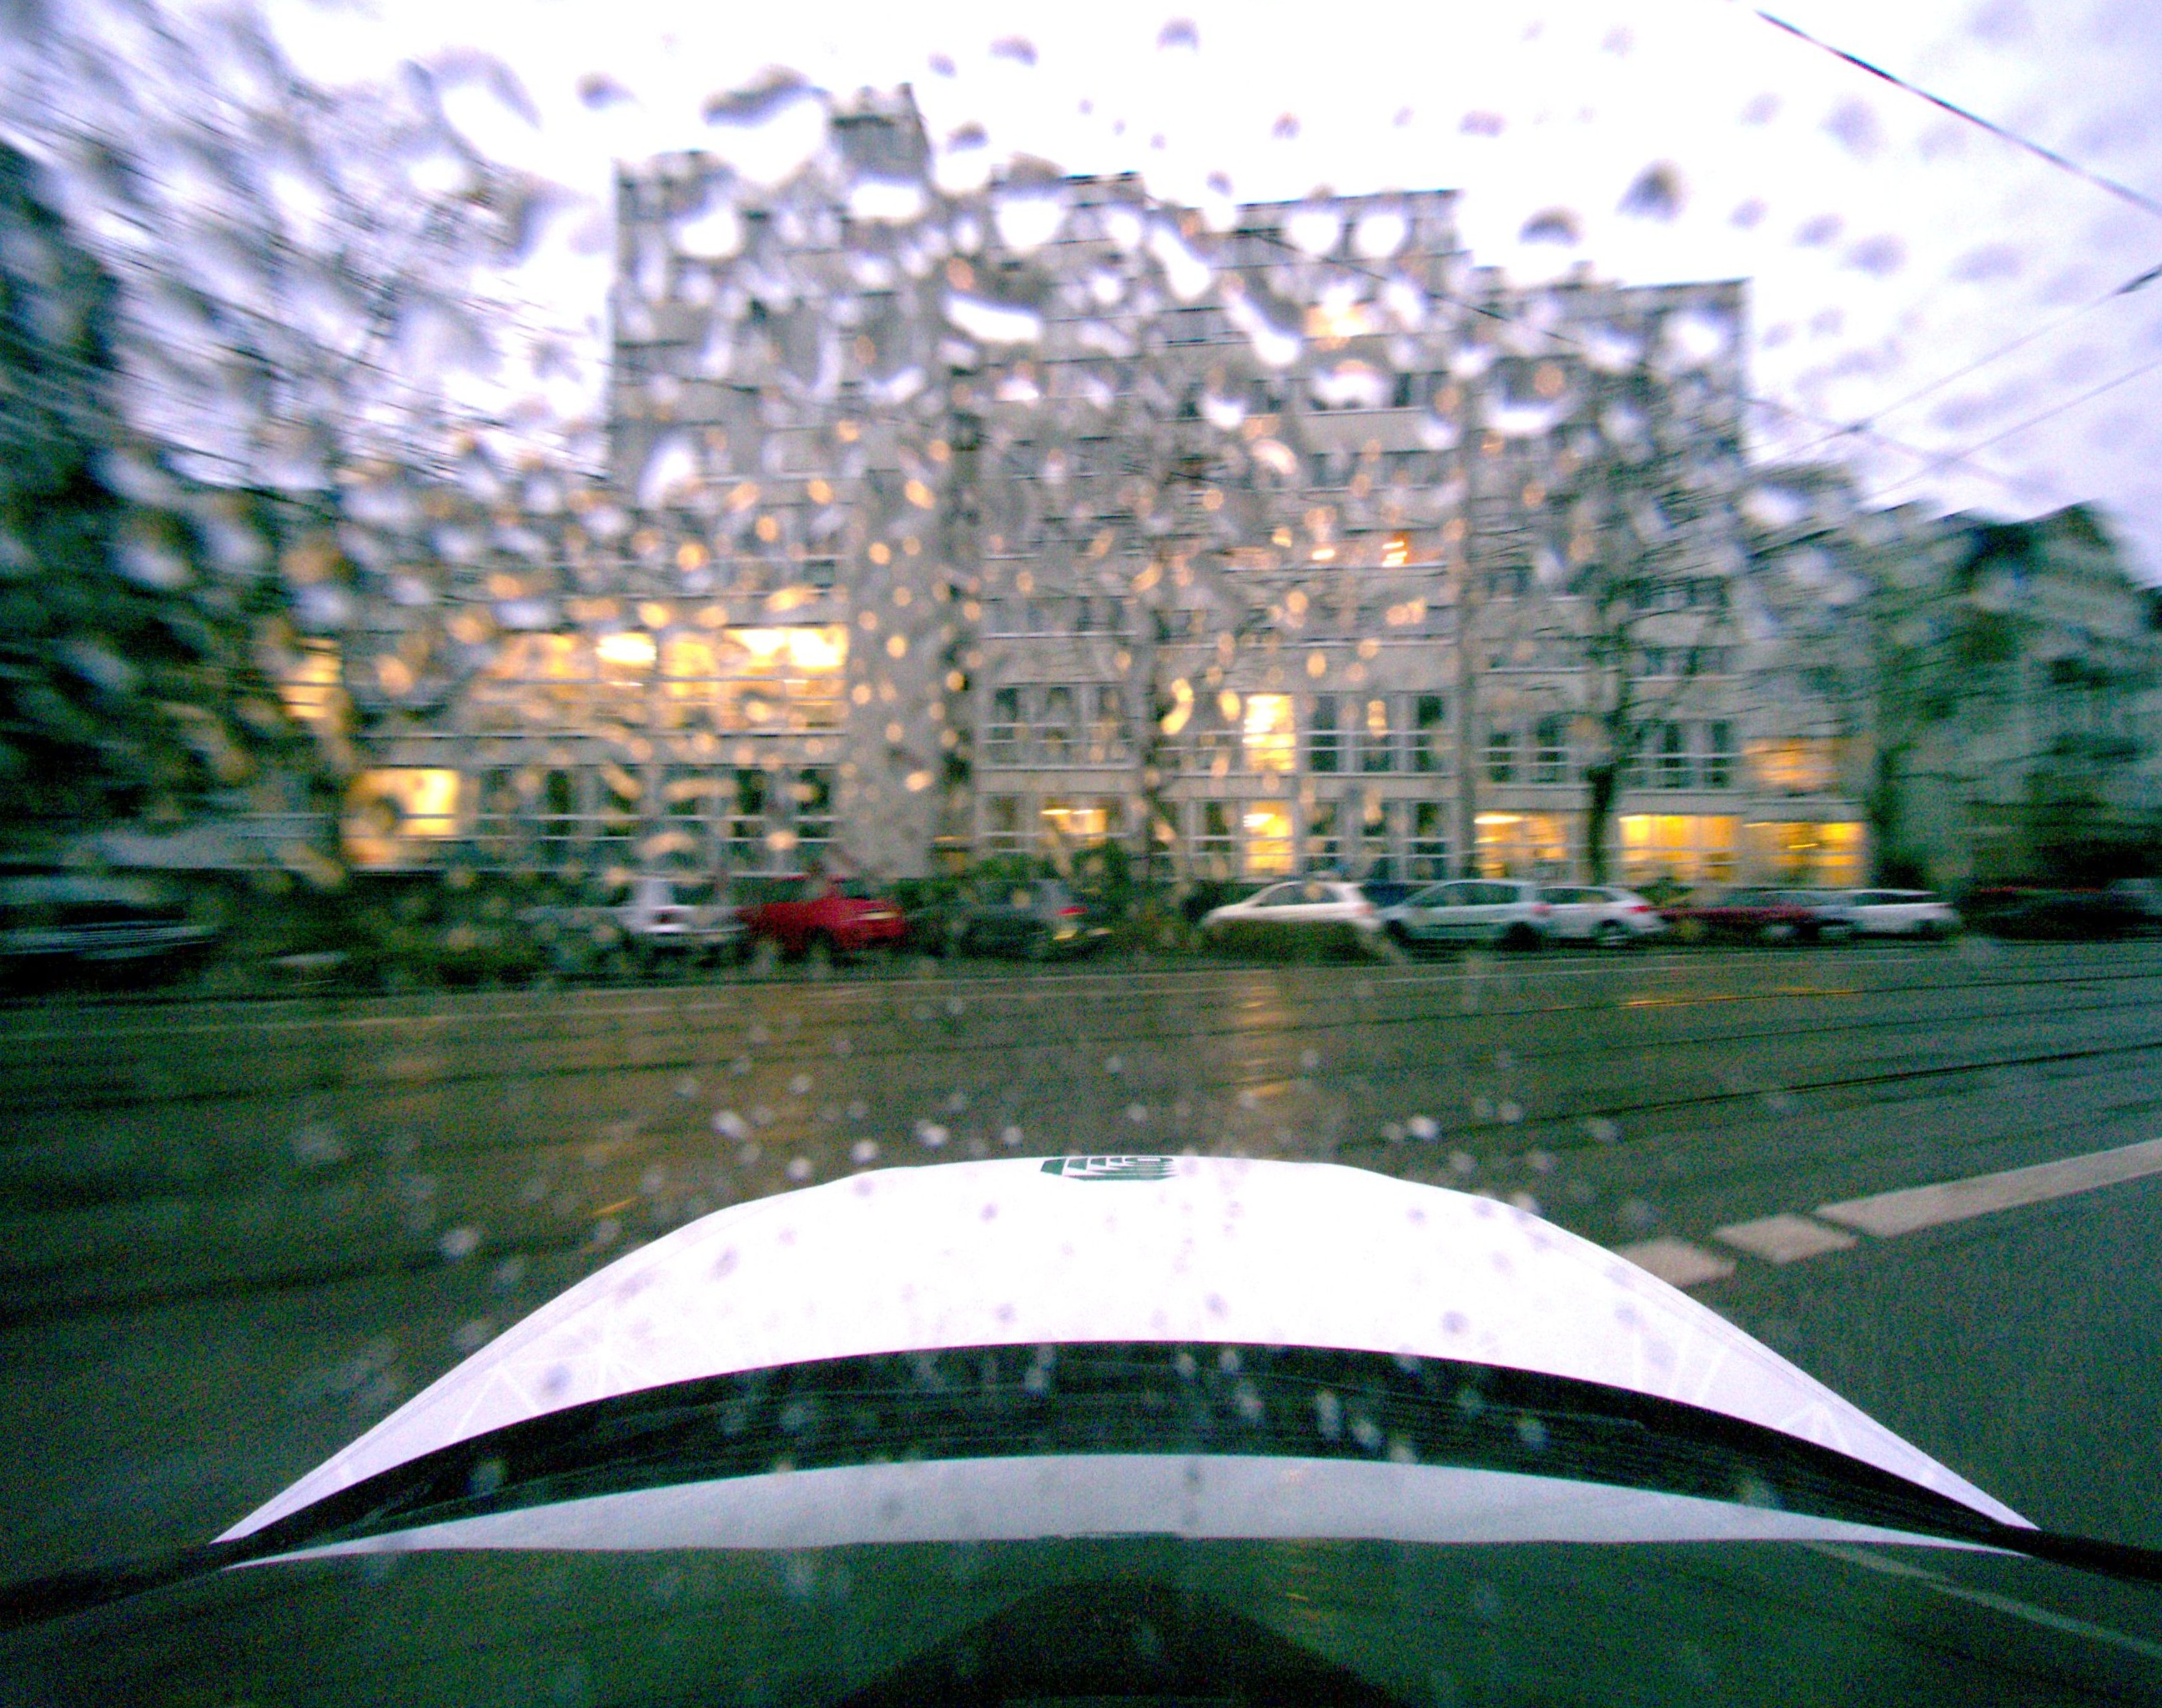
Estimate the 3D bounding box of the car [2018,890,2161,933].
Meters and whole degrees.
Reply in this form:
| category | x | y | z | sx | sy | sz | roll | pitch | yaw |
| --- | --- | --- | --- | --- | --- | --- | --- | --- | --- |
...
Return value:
| category | x | y | z | sx | sy | sz | roll | pitch | yaw |
| --- | --- | --- | --- | --- | --- | --- | --- | --- | --- |
| car | 36.456 | 1.996 | 28.783 | 3.949 | 1.428 | 1.859 | -1 | -2 | 28 |

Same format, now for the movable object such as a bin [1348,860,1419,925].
| category | x | y | z | sx | sy | sz | roll | pitch | yaw |
| --- | --- | --- | --- | --- | --- | --- | --- | --- | --- |
| movable object such as a bin | 9.111 | 1.146 | 24.606 | 1.317 | 1.860 | 1.565 | 0 | -2 | -18 |

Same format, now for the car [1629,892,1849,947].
| category | x | y | z | sx | sy | sz | roll | pitch | yaw |
| --- | --- | --- | --- | --- | --- | --- | --- | --- | --- |
| car | 17.627 | 1.724 | 22.105 | 4.295 | 1.352 | 1.759 | -1 | -3 | 22 |

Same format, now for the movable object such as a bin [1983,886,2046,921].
| category | x | y | z | sx | sy | sz | roll | pitch | yaw |
| --- | --- | --- | --- | --- | --- | --- | --- | --- | --- |
| movable object such as a bin | 39.210 | 2.056 | 34.220 | 1.322 | 1.451 | 1.261 | 1 | -2 | -13 |

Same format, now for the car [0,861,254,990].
| category | x | y | z | sx | sy | sz | roll | pitch | yaw |
| --- | --- | --- | --- | --- | --- | --- | --- | --- | --- |
| car | -12.781 | 0.822 | 10.525 | 3.949 | 1.379 | 1.867 | -1 | -2 | 28 |

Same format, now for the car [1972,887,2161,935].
| category | x | y | z | sx | sy | sz | roll | pitch | yaw |
| --- | --- | --- | --- | --- | --- | --- | --- | --- | --- |
| car | 33.651 | 1.912 | 27.793 | 3.950 | 1.471 | 1.842 | 0 | -2 | 25 |

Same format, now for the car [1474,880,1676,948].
| category | x | y | z | sx | sy | sz | roll | pitch | yaw |
| --- | --- | --- | --- | --- | --- | --- | --- | --- | --- |
| car | 11.723 | 1.373 | 19.442 | 3.948 | 1.444 | 1.747 | -1 | -4 | 37 |

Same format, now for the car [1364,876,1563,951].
| category | x | y | z | sx | sy | sz | roll | pitch | yaw |
| --- | --- | --- | --- | --- | --- | --- | --- | --- | --- |
| car | 8.697 | 1.296 | 18.641 | 3.949 | 1.564 | 1.747 | -1 | -2 | 28 |

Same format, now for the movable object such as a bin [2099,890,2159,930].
| category | x | y | z | sx | sy | sz | roll | pitch | yaw |
| --- | --- | --- | --- | --- | --- | --- | --- | --- | --- |
| movable object such as a bin | 39.278 | 2.079 | 30.545 | 1.117 | 1.451 | 1.252 | 2 | -3 | -42 |

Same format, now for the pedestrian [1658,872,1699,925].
| category | x | y | z | sx | sy | sz | roll | pitch | yaw |
| --- | --- | --- | --- | --- | --- | --- | --- | --- | --- |
| pedestrian | 19.311 | 1.419 | 26.315 | 0.973 | 1.677 | 0.594 | 1 | -2 | -20 |

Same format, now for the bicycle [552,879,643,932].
| category | x | y | z | sx | sy | sz | roll | pitch | yaw |
| --- | --- | --- | --- | --- | --- | --- | --- | --- | --- |
| bicycle | -11.010 | 1.144 | 18.660 | 0.637 | 1.121 | 2.207 | 0 | -2 | 3 |

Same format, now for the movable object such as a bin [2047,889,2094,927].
| category | x | y | z | sx | sy | sz | roll | pitch | yaw |
| --- | --- | --- | --- | --- | --- | --- | --- | --- | --- |
| movable object such as a bin | 38.412 | 2.080 | 31.643 | 1.117 | 1.451 | 1.079 | 2 | -3 | -41 |

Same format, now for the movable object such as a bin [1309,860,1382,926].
| category | x | y | z | sx | sy | sz | roll | pitch | yaw |
| --- | --- | --- | --- | --- | --- | --- | --- | --- | --- |
| movable object such as a bin | 7.817 | 1.144 | 24.161 | 1.393 | 1.860 | 1.565 | 0 | -2 | -19 |

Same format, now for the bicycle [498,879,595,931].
| category | x | y | z | sx | sy | sz | roll | pitch | yaw |
| --- | --- | --- | --- | --- | --- | --- | --- | --- | --- |
| bicycle | -12.182 | 1.136 | 18.673 | 0.637 | 1.121 | 2.207 | 0 | -2 | 3 |

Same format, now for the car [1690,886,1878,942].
| category | x | y | z | sx | sy | sz | roll | pitch | yaw |
| --- | --- | --- | --- | --- | --- | --- | --- | --- | --- |
| car | 20.119 | 1.677 | 23.561 | 3.948 | 1.464 | 1.747 | -1 | -4 | 36 |

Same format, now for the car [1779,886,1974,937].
| category | x | y | z | sx | sy | sz | roll | pitch | yaw |
| --- | --- | --- | --- | --- | --- | --- | --- | --- | --- |
| car | 23.656 | 1.673 | 24.418 | 3.805 | 1.423 | 1.746 | -1 | -2 | 25 |

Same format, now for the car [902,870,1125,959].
| category | x | y | z | sx | sy | sz | roll | pitch | yaw |
| --- | --- | --- | --- | --- | --- | --- | --- | --- | --- |
| car | -1.277 | 1.067 | 15.246 | 3.805 | 1.493 | 1.706 | -1 | -2 | 26 |

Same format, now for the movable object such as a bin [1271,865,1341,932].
| category | x | y | z | sx | sy | sz | roll | pitch | yaw |
| --- | --- | --- | --- | --- | --- | --- | --- | --- | --- |
| movable object such as a bin | 6.518 | 1.257 | 23.687 | 1.317 | 1.860 | 1.565 | 0 | -2 | -18 |

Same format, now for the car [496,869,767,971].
| category | x | y | z | sx | sy | sz | roll | pitch | yaw |
| --- | --- | --- | --- | --- | --- | --- | --- | --- | --- |
| car | -7.290 | 0.987 | 13.222 | 3.951 | 1.446 | 1.803 | -1 | -2 | 24 |

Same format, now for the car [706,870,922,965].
| category | x | y | z | sx | sy | sz | roll | pitch | yaw |
| --- | --- | --- | --- | --- | --- | --- | --- | --- | --- |
| car | -4.722 | 1.042 | 14.397 | 3.407 | 1.493 | 1.740 | -1 | -2 | 28 |

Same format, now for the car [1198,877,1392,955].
| category | x | y | z | sx | sy | sz | roll | pitch | yaw |
| --- | --- | --- | --- | --- | --- | --- | --- | --- | --- |
| car | 4.679 | 1.291 | 17.847 | 3.828 | 1.552 | 1.702 | -1 | -2 | 25 |

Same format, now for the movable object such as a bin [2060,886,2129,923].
| category | x | y | z | sx | sy | sz | roll | pitch | yaw |
| --- | --- | --- | --- | --- | --- | --- | --- | --- | --- |
| movable object such as a bin | 41.000 | 2.017 | 32.952 | 1.322 | 1.451 | 1.261 | 1 | -2 | -13 |

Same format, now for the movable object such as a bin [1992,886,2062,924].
| category | x | y | z | sx | sy | sz | roll | pitch | yaw |
| --- | --- | --- | --- | --- | --- | --- | --- | --- | --- |
| movable object such as a bin | 36.773 | 1.969 | 31.671 | 1.322 | 1.451 | 1.261 | 1 | -2 | -13 |
